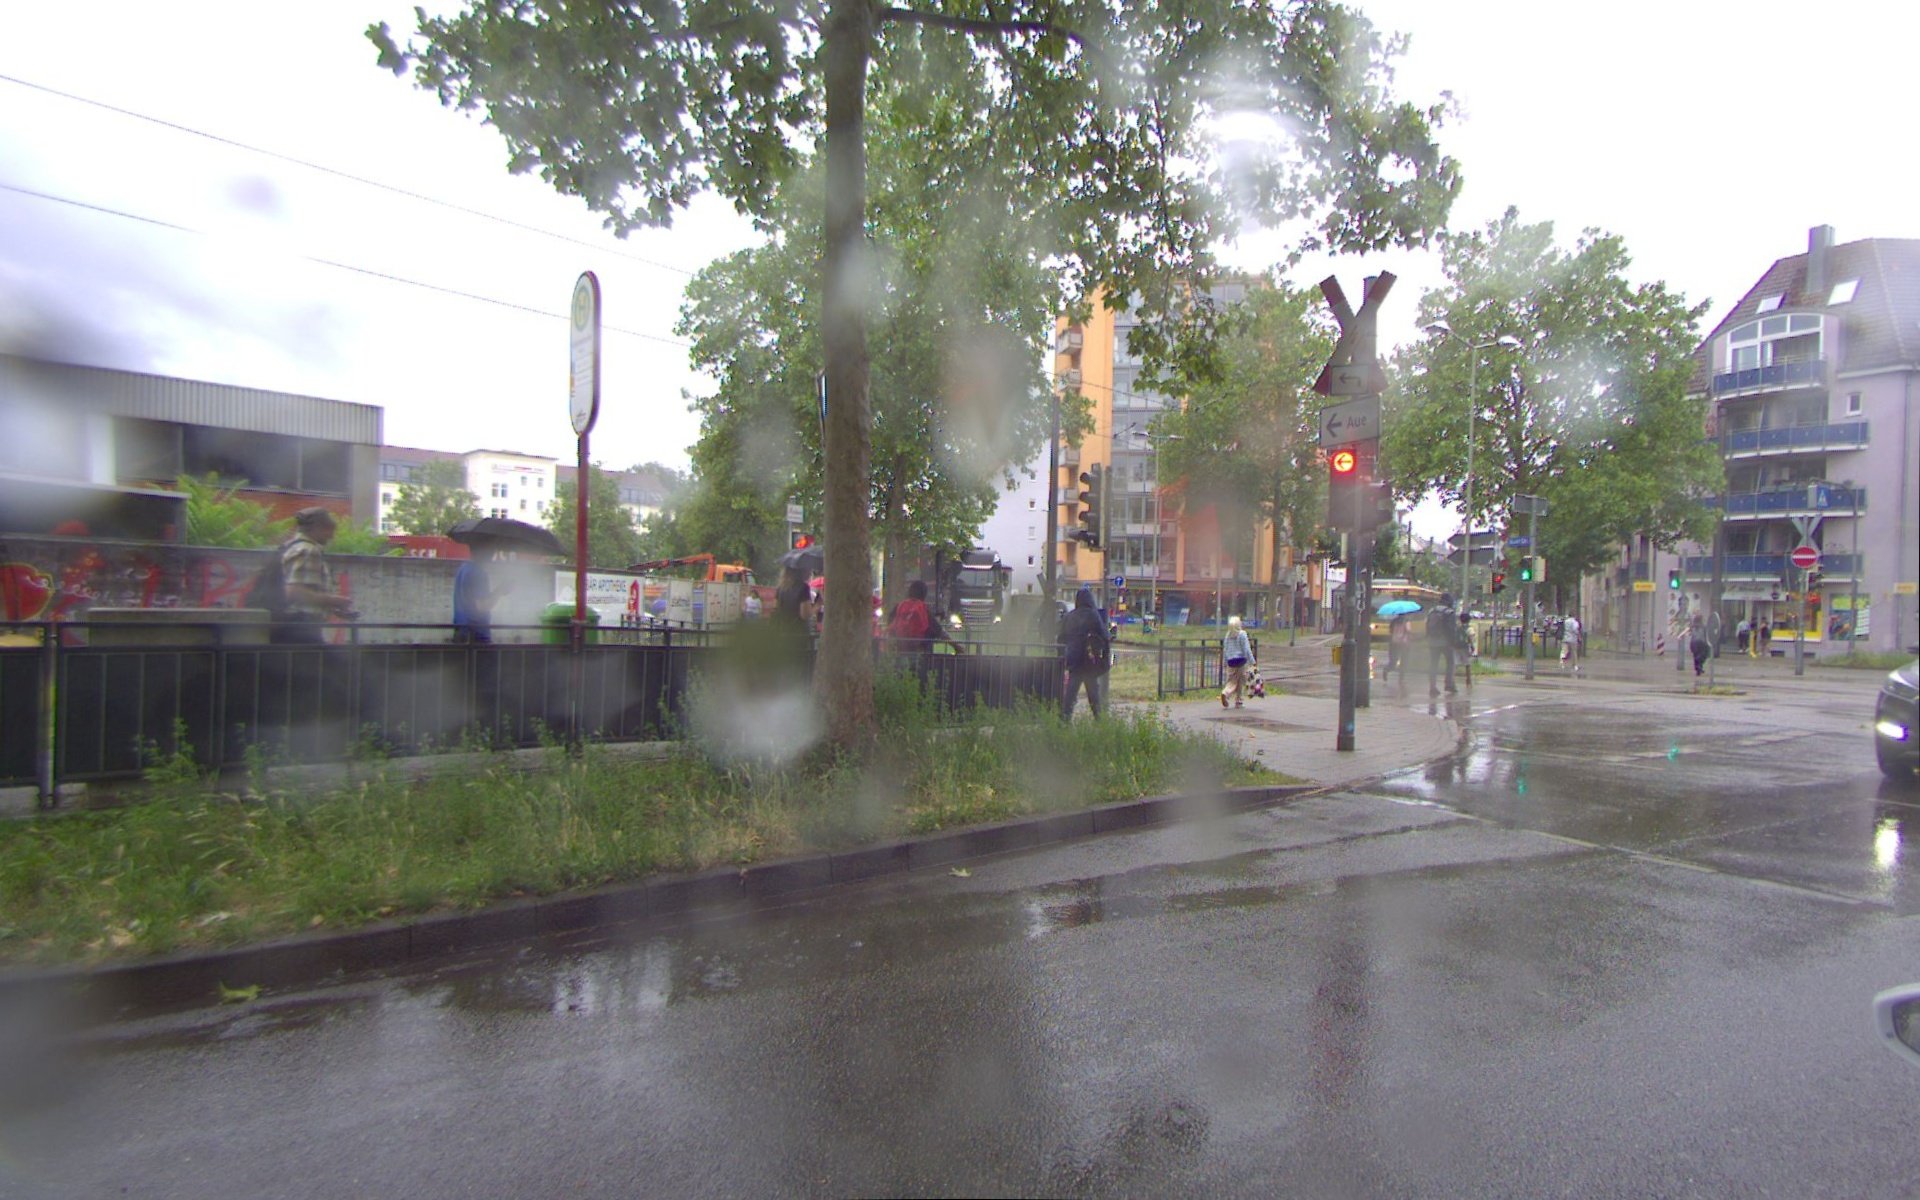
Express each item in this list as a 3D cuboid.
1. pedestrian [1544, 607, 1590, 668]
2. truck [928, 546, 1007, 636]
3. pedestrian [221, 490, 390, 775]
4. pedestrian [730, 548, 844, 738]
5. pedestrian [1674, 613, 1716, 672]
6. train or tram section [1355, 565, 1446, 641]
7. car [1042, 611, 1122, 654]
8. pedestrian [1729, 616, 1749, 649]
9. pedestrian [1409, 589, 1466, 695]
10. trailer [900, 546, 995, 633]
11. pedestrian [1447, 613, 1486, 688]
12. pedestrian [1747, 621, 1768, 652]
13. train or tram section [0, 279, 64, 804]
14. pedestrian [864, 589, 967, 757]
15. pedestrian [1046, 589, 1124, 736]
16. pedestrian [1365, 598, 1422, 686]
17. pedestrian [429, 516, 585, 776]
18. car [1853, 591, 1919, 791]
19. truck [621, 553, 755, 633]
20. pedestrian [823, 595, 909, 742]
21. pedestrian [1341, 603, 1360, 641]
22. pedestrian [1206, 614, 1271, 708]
[{"bbox_3d":[16.529,1.020,27.351,0.956,1.622,0.670,2,0,-30],"label":"pedestrian"},{"bbox_3d":[0.267,-0.392,46.055,2.593,3.842,4.444,2,0,-13],"label":"truck"},{"bbox_3d":[-4.469,0.201,6.853,0.825,1.778,0.856,1,1,-43],"label":"pedestrian"},{"bbox_3d":[-1.626,0.399,9.498,0.783,1.705,0.659,-2,0,23],"label":"pedestrian"},{"bbox_3d":[20.059,1.158,27.415,0.785,1.553,0.743,2,0,-41],"label":"pedestrian"},{"bbox_3d":[25.995,0.284,58.555,2.839,3.818,17.211,2,0,30],"label":"train or tram section"},{"bbox_3d":[4.843,1.263,40.496,1.585,1.551,4.017,1,1,-19],"label":"car"},{"bbox_3d":[35.686,1.502,46.014,0.551,1.477,0.445,2,0,-7],"label":"pedestrian"},{"bbox_3d":[8.750,0.750,18.398,0.778,1.880,0.679,2,1,38],"label":"pedestrian"},{"bbox_3d":[-0.826,-0.468,50.745,2.593,3.899,10.114,2,0,-13],"label":"trailer"},{"bbox_3d":[9.890,0.966,19.647,0.638,1.414,0.782,1,0,26],"label":"pedestrian"},{"bbox_3d":[35.616,1.636,44.837,0.550,1.347,0.445,2,0,1],"label":"pedestrian"},{"bbox_3d":[-12.489,-0.555,3.663,13.607,3.593,2.835,2,0,-41],"label":"train or tram section"},{"bbox_3d":[-0.463,0.719,10.418,0.810,1.646,0.723,0,0,-38],"label":"pedestrian"},{"bbox_3d":[1.527,0.738,12.224,0.823,1.722,0.689,-1,0,17],"label":"pedestrian"},{"bbox_3d":[9.189,0.871,21.275,0.943,1.789,0.951,2,0,31],"label":"pedestrian"},{"bbox_3d":[-3.569,0.337,7.908,0.885,1.889,0.861,1,1,-42],"label":"pedestrian"},{"bbox_3d":[10.398,0.825,9.316,4.548,1.705,1.795,1,1,-30],"label":"car"},{"bbox_3d":[-11.752,-0.275,43.619,5.383,3.205,2.164,2,0,-16],"label":"truck"},{"bbox_3d":[-1.034,0.724,11.050,0.654,1.540,0.676,1,0,-41],"label":"pedestrian"},{"bbox_3d":[23.014,1.298,59.189,0.871,2.179,0.910,2,0,29],"label":"pedestrian"},{"bbox_3d":[4.217,0.907,15.213,0.704,1.367,0.650,1,1,-44],"label":"pedestrian"}]
